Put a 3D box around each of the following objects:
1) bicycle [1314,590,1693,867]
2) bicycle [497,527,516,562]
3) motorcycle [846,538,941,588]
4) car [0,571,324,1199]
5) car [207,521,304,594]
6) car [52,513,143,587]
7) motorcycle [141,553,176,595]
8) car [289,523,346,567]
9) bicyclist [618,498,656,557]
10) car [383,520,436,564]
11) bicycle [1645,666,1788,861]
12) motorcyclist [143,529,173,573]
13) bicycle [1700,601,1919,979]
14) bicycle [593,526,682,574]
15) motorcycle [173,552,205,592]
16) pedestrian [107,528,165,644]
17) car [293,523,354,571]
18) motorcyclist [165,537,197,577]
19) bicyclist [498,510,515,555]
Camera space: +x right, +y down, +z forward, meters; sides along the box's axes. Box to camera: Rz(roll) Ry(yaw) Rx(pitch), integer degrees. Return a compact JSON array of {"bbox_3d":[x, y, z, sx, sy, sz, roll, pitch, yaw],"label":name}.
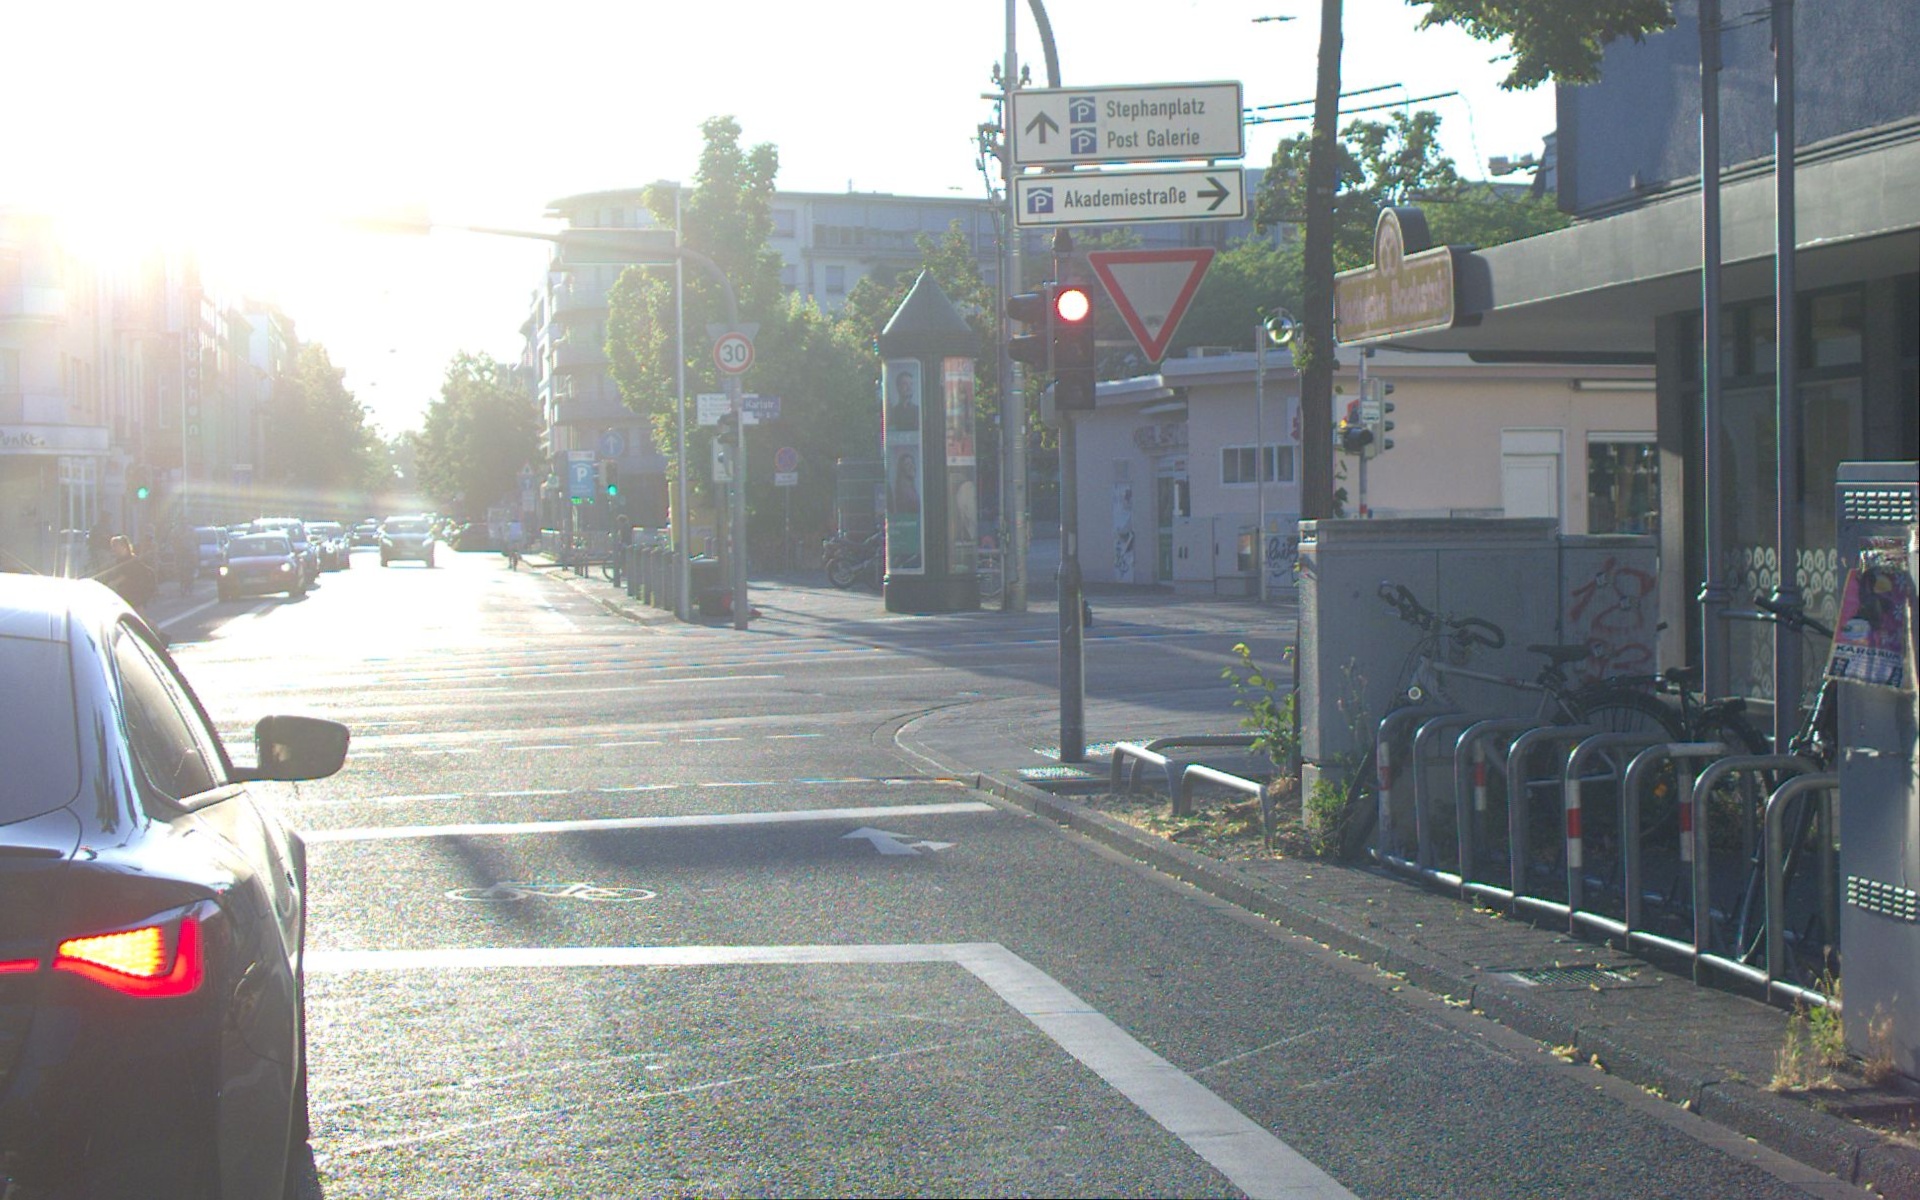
[{"bbox_3d":[2.398,0.557,15.172,1.612,1.167,0.318,-1,1,-6],"label":"bicycle"},{"bbox_3d":[-15.211,-1.869,115.308,0.550,1.155,2.145,0,1,-10],"label":"bicycle"},{"bbox_3d":[-1.319,-0.730,67.845,1.668,0.935,0.856,-1,2,-19],"label":"motorcycle"},{"bbox_3d":[-2.119,0.680,6.510,1.736,1.424,4.225,0,1,-10],"label":"car"},{"bbox_3d":[-15.335,-0.953,74.960,1.817,1.514,4.001,-1,2,-8],"label":"car"},{"bbox_3d":[-21.822,-1.280,87.076,1.817,1.782,4.001,-1,1,-8],"label":"car"},{"bbox_3d":[-18.161,-0.587,77.894,0.575,0.912,2.201,1,1,-8],"label":"motorcycle"},{"bbox_3d":[-22.987,-1.977,123.167,1.817,1.514,4.001,-1,2,-8],"label":"car"},{"bbox_3d":[-8.352,-1.883,88.966,0.884,1.500,0.612,1,1,3],"label":"bicyclist"},{"bbox_3d":[-19.810,-2.092,123.881,1.817,1.514,4.001,-1,2,-8],"label":"car"},{"bbox_3d":[3.357,0.712,15.309,0.249,0.793,1.116,1,1,-7],"label":"bicycle"},{"bbox_3d":[-18.120,-1.112,77.682,0.575,0.992,0.703,1,1,-8],"label":"motorcyclist"},{"bbox_3d":[3.228,0.624,11.411,1.440,1.216,0.383,1,1,-7],"label":"bicycle"},{"bbox_3d":[-8.356,-1.298,88.980,2.212,1.198,0.620,1,1,3],"label":"bicycle"},{"bbox_3d":[-18.425,-0.669,82.138,0.575,0.912,2.201,1,1,-8],"label":"motorcycle"},{"bbox_3d":[-10.895,-0.191,45.448,0.732,1.524,0.473,1,1,-15],"label":"pedestrian"},{"bbox_3d":[-21.094,-1.776,114.011,1.817,1.514,4.001,-1,2,-8],"label":"car"},{"bbox_3d":[-18.530,-1.031,81.830,0.575,0.912,2.201,1,1,-8],"label":"motorcyclist"},{"bbox_3d":[-15.217,-2.261,115.351,0.550,1.476,0.723,0,0,-10],"label":"bicyclist"}]
